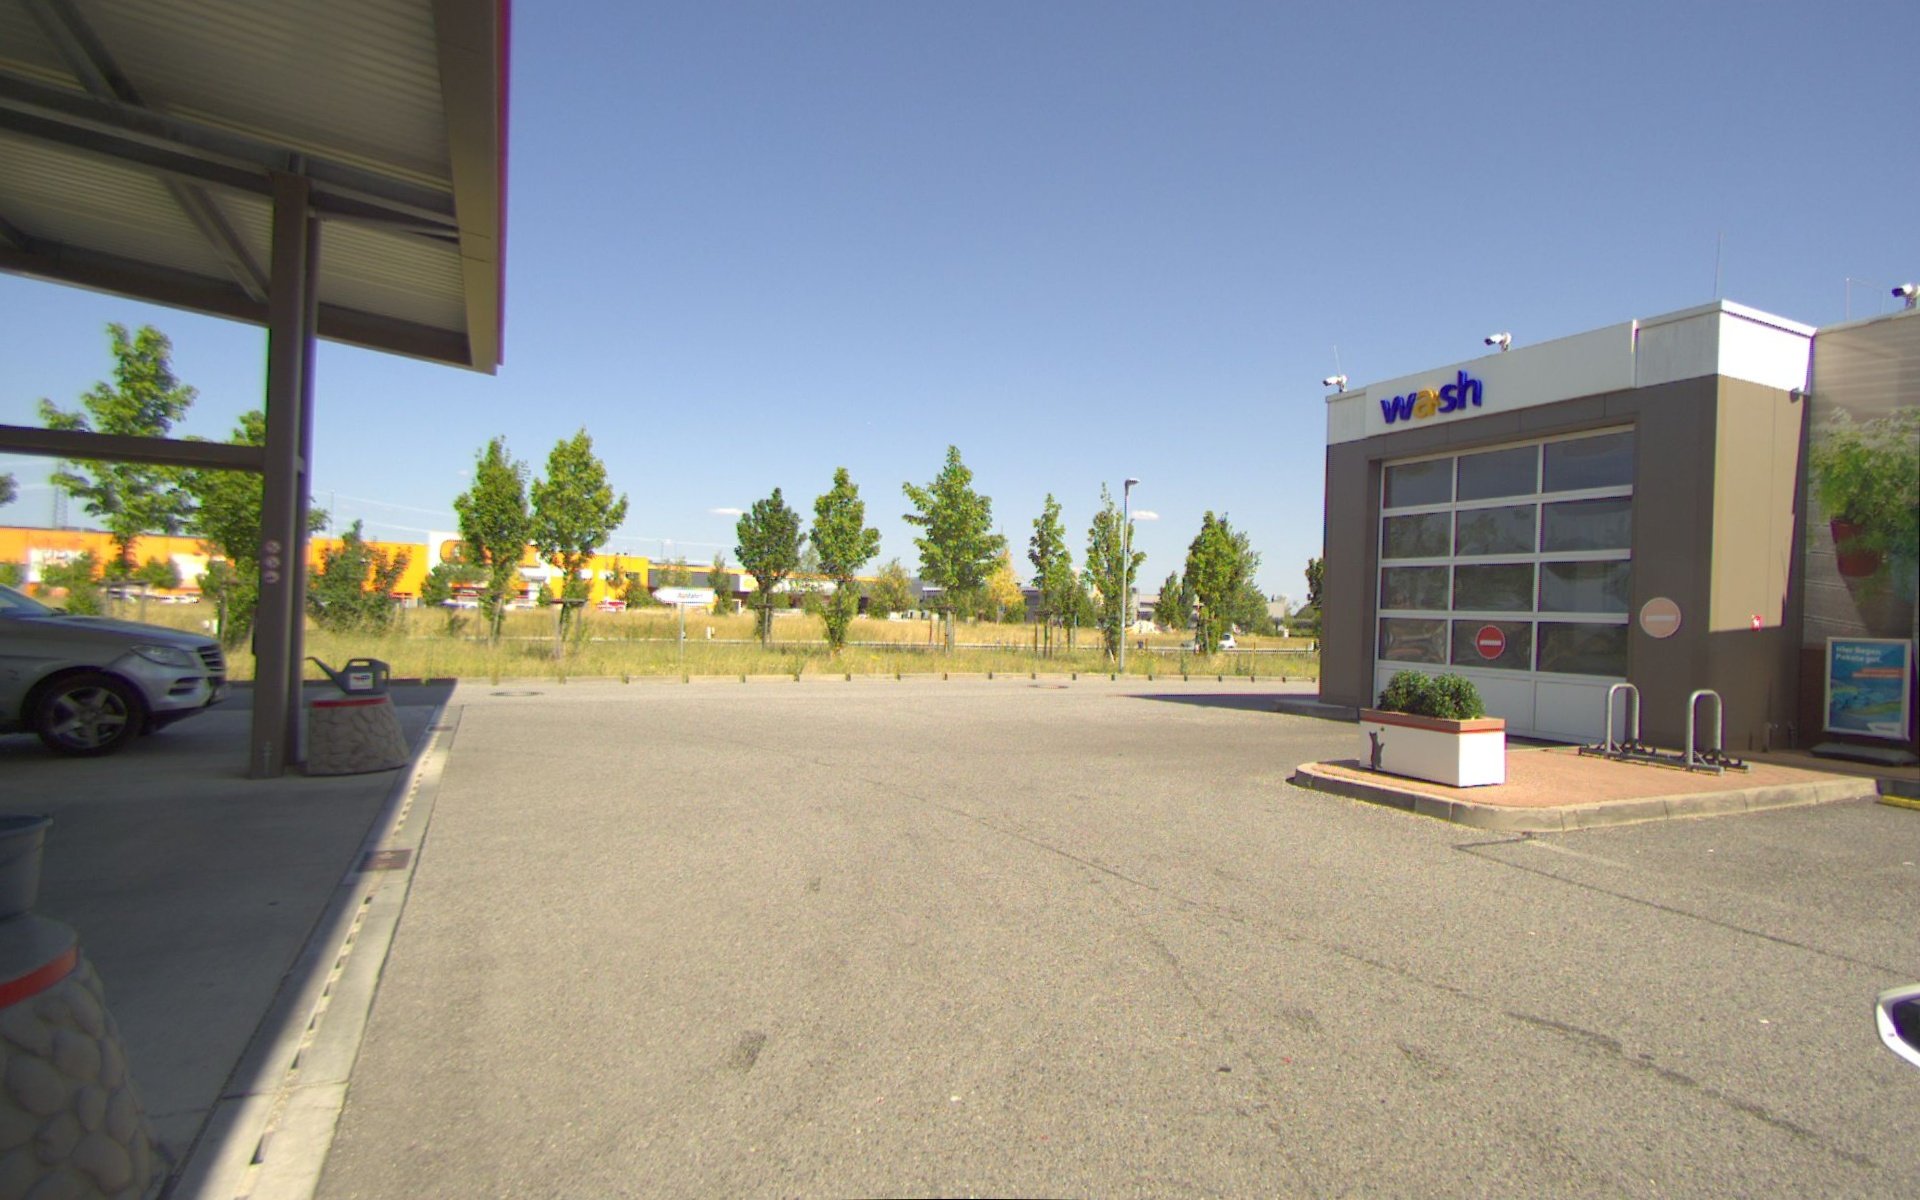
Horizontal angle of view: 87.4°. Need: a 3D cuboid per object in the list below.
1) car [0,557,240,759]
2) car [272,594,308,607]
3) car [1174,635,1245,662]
[{"bbox_3d":[-9.284,0.468,8.908,4.481,1.710,1.851,2,-1,-30],"label":"car"},{"bbox_3d":[-71.376,0.026,106.980,2.904,1.316,1.478,2,-1,-24],"label":"car"},{"bbox_3d":[16.974,3.316,68.302,4.366,1.625,1.936,3,-1,-24],"label":"car"}]
